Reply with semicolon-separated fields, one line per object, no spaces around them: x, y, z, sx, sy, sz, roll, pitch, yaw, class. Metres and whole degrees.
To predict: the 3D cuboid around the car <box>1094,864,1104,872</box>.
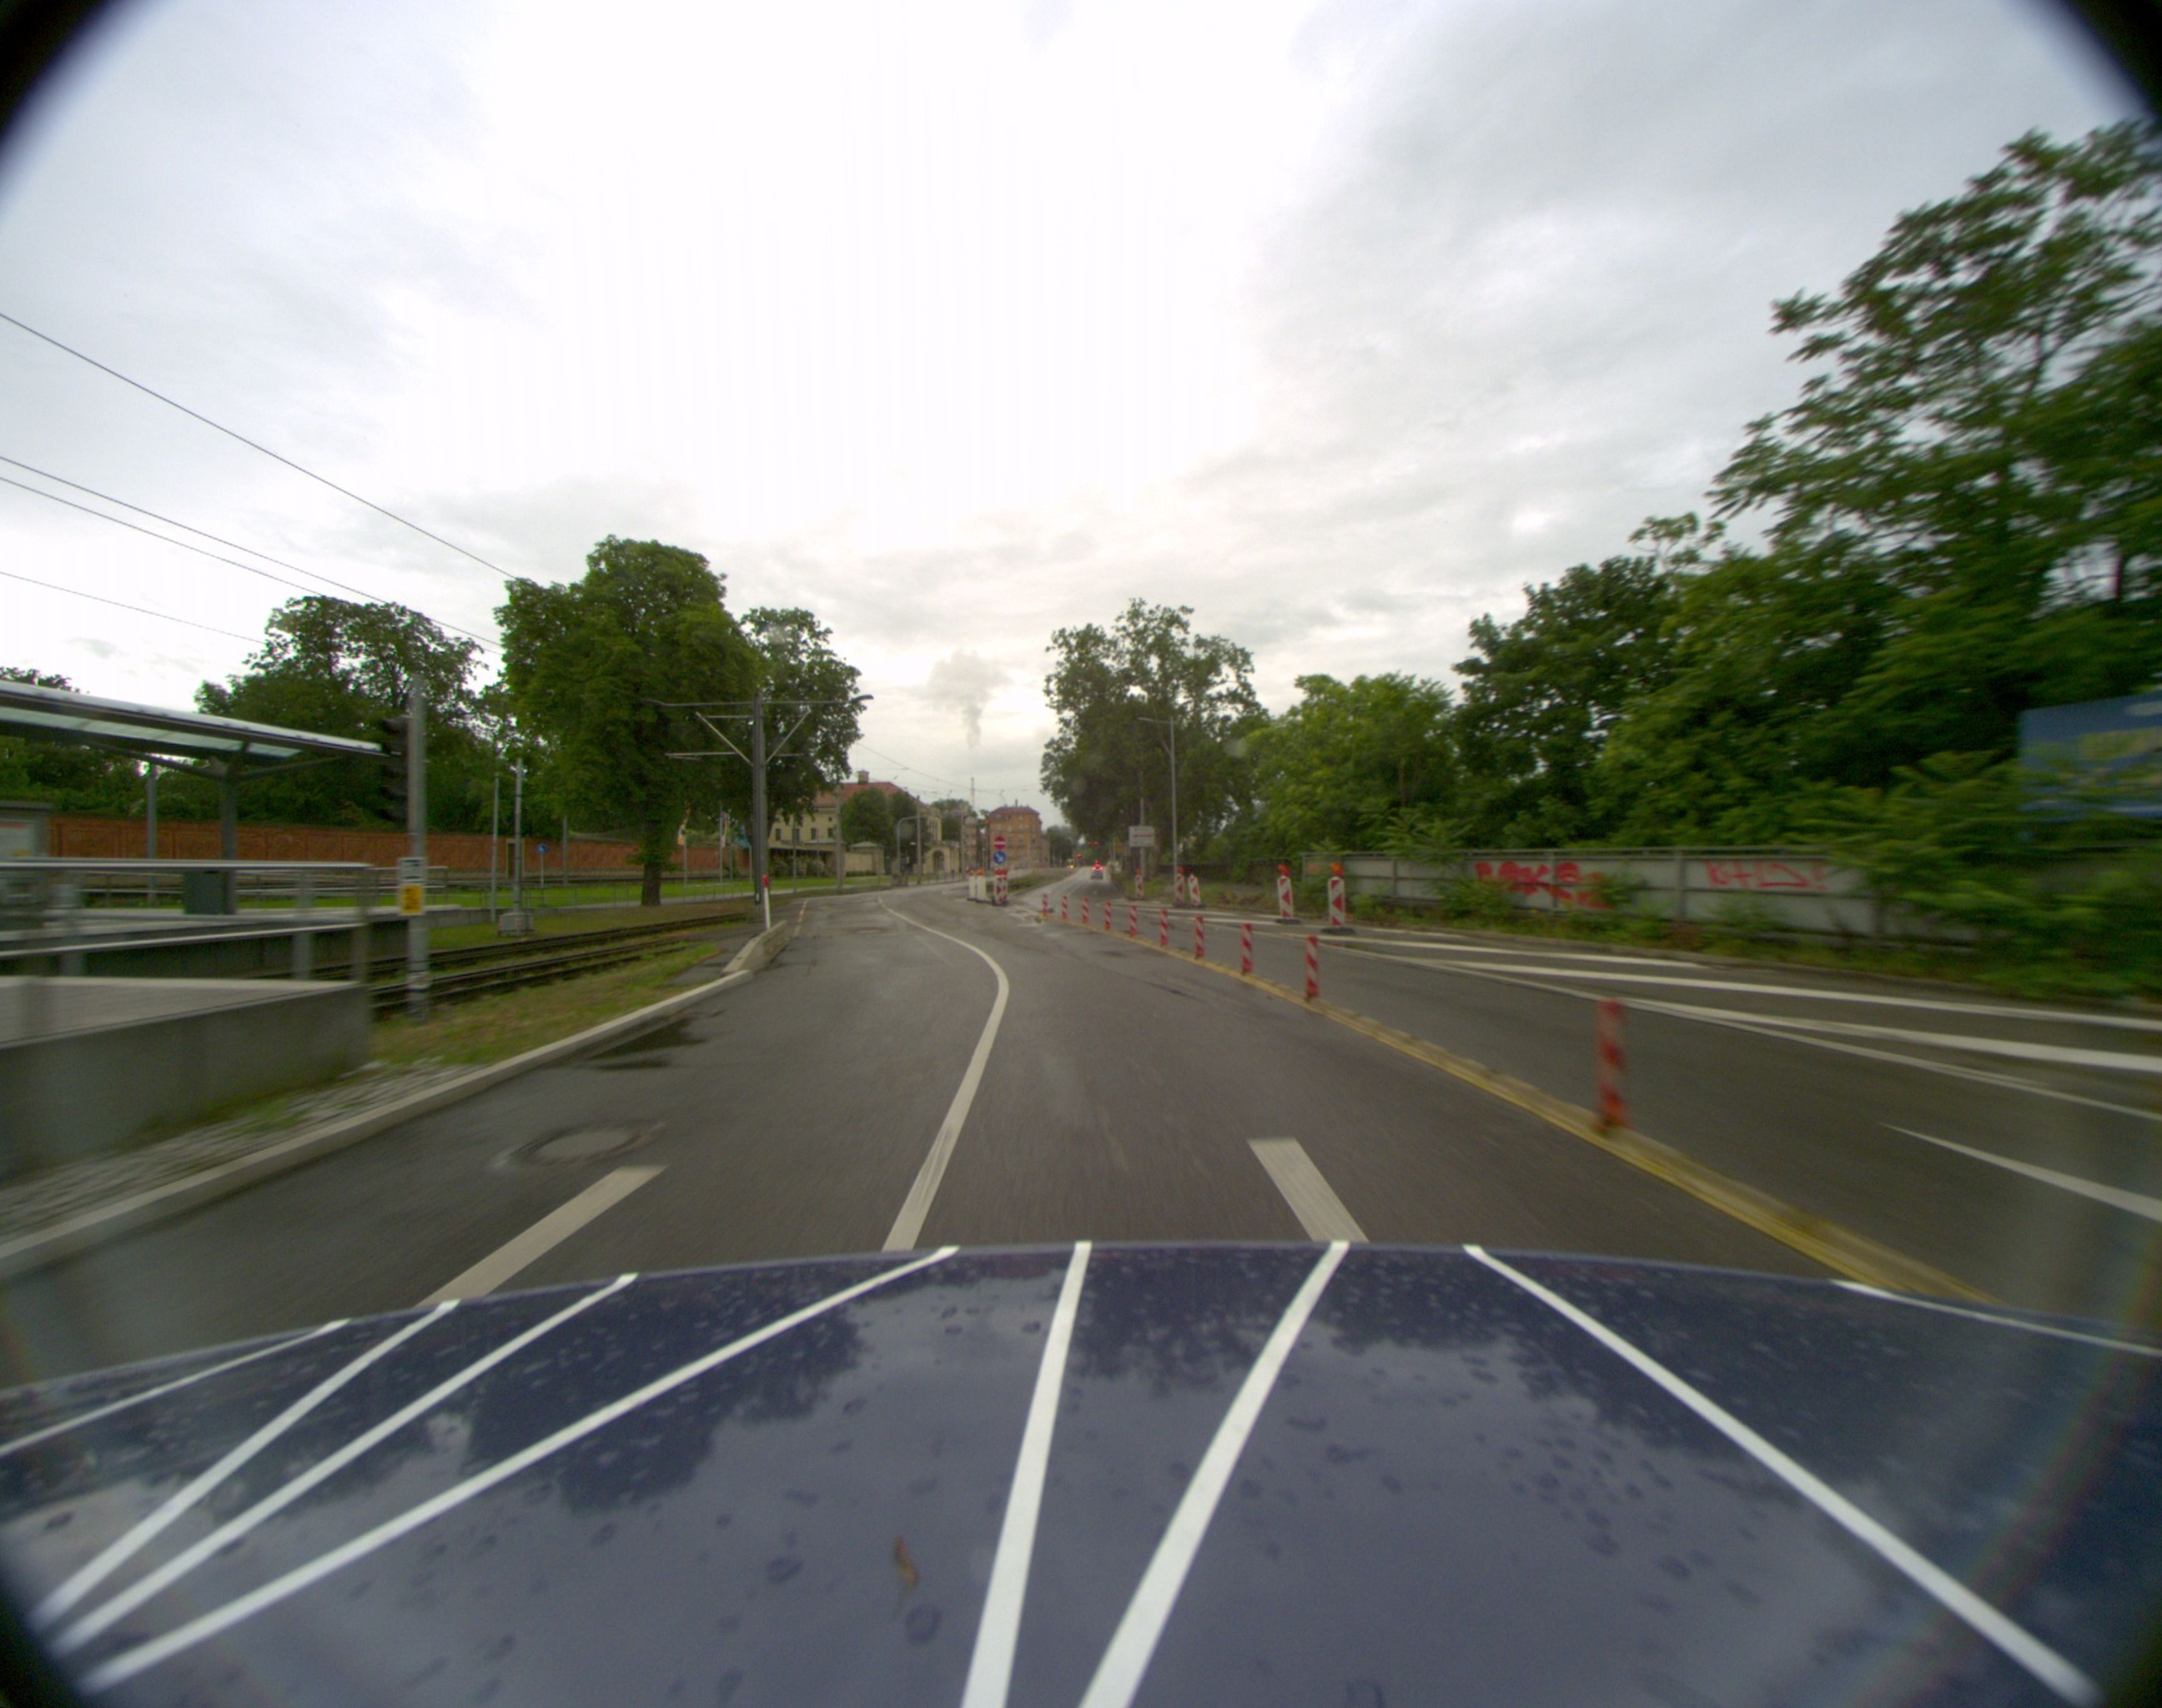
3.626;2.791;152.395;1.751;1.421;4.561;2;-1;0;car

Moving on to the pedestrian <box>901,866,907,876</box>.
-28.789;2.729;123.583;0.730;1.700;0.982;1;0;2;pedestrian

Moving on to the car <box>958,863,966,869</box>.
-29.644;2.933;189.145;1.864;1.539;4.064;0;0;-5;car

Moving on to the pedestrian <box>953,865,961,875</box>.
-20.014;2.561;122.619;0.863;1.581;0.670;2;-1;27;pedestrian

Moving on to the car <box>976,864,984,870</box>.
-26.548;3.410;200.055;1.831;1.573;3.998;1;-1;-5;car

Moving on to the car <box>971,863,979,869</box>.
-26.400;2.980;189.088;1.831;1.573;3.998;1;-1;-5;car

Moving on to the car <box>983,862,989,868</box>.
-30.039;3.470;240.849;1.831;1.573;3.998;1;-1;-5;car

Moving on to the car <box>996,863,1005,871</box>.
-18.027;2.830;170.523;1.844;1.630;4.142;-3;0;-3;car

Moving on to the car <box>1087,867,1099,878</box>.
1.828;2.792;113.938;1.713;1.490;4.721;1;-1;1;car

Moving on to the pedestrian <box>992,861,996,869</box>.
-20.209;2.588;176.660;0.783;1.796;0.696;-1;0;-39;pedestrian
